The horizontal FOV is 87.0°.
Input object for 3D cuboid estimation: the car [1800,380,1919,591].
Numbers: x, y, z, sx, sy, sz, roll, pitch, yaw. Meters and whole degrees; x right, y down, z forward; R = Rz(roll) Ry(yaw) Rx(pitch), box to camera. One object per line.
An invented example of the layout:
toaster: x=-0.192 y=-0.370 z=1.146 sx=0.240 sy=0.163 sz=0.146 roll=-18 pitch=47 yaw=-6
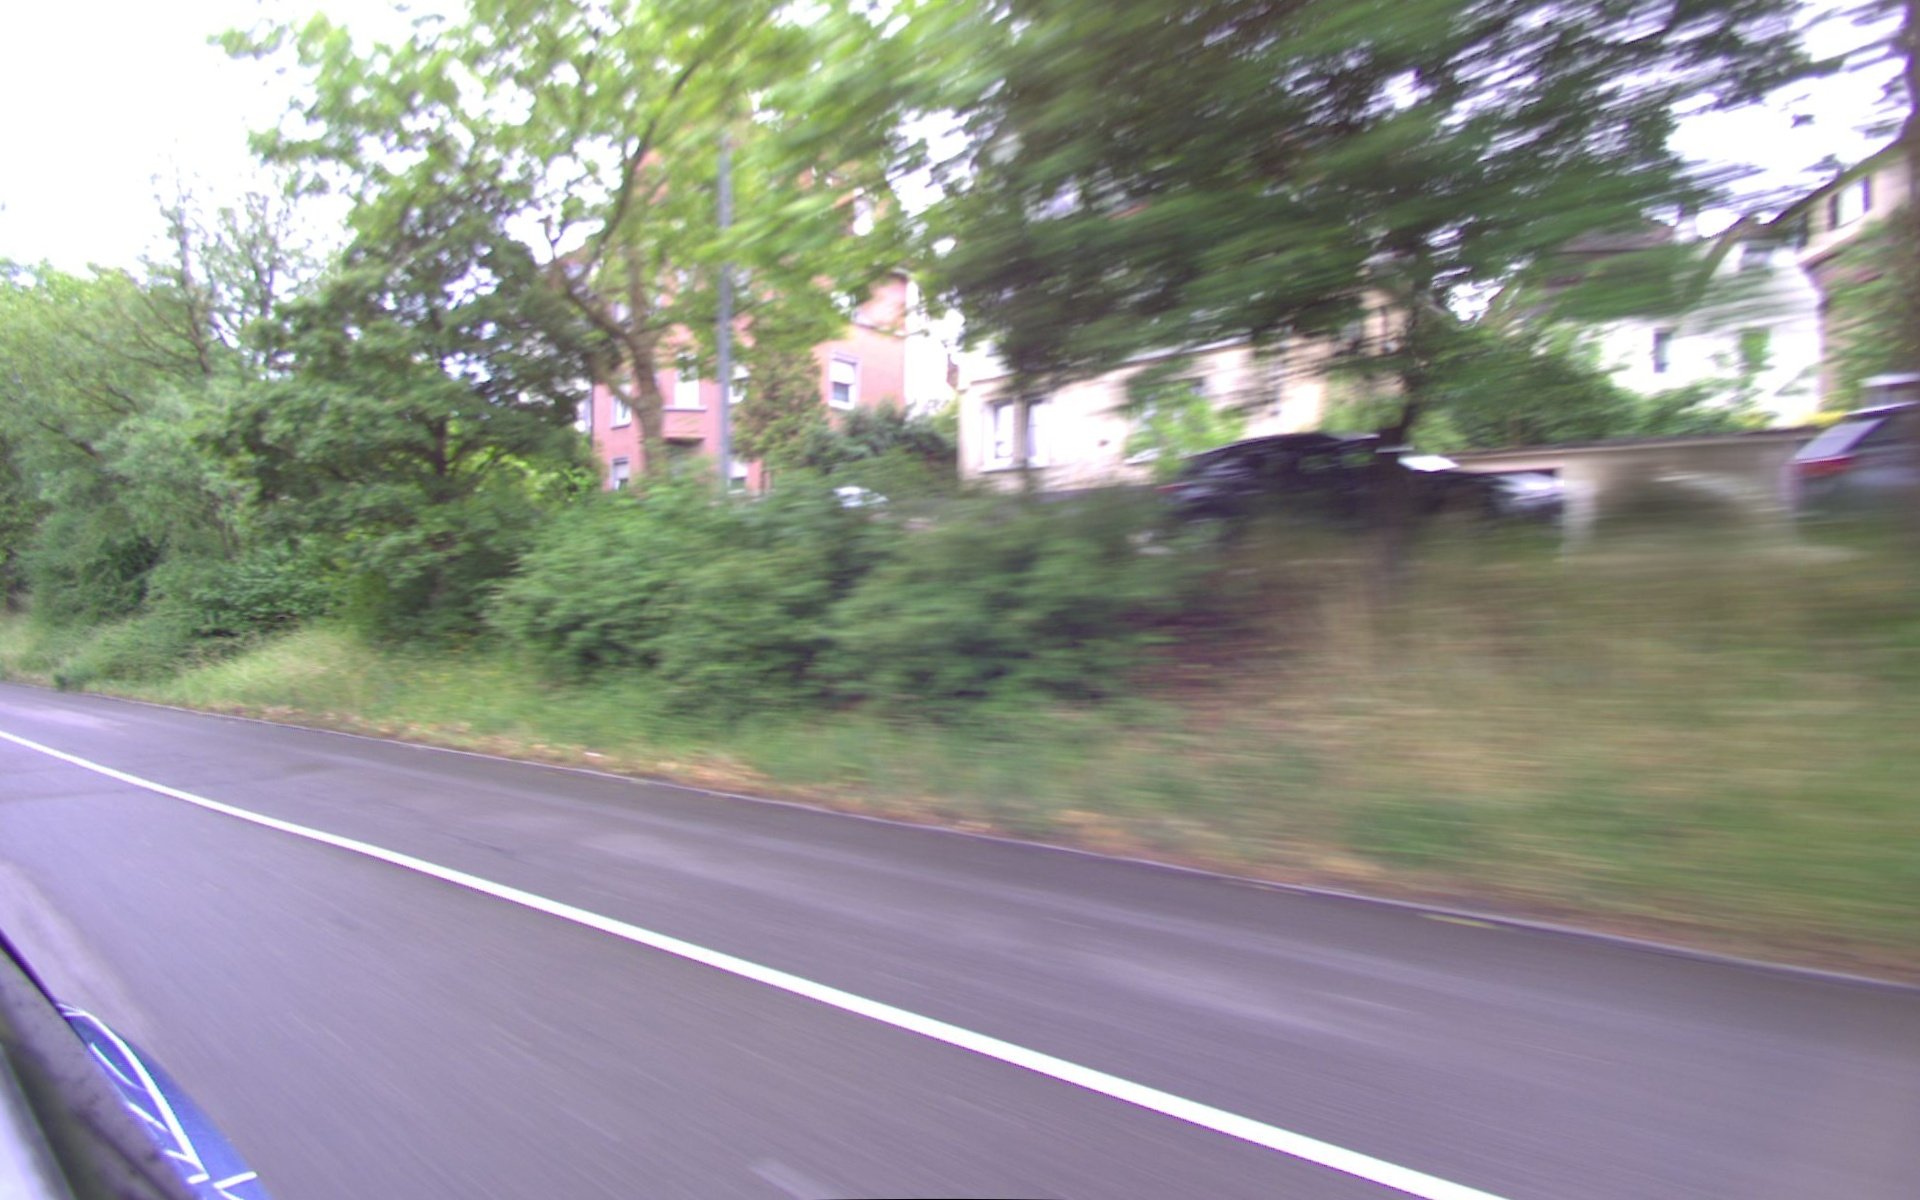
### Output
car: x=9.056 y=-0.930 z=7.236 sx=4.625 sy=1.569 sz=1.811 roll=-2 pitch=0 yaw=41

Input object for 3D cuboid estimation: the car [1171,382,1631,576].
car: x=4.691 y=-1.131 z=11.154 sx=4.284 sy=1.569 sz=1.811 roll=-2 pitch=0 yaw=41
